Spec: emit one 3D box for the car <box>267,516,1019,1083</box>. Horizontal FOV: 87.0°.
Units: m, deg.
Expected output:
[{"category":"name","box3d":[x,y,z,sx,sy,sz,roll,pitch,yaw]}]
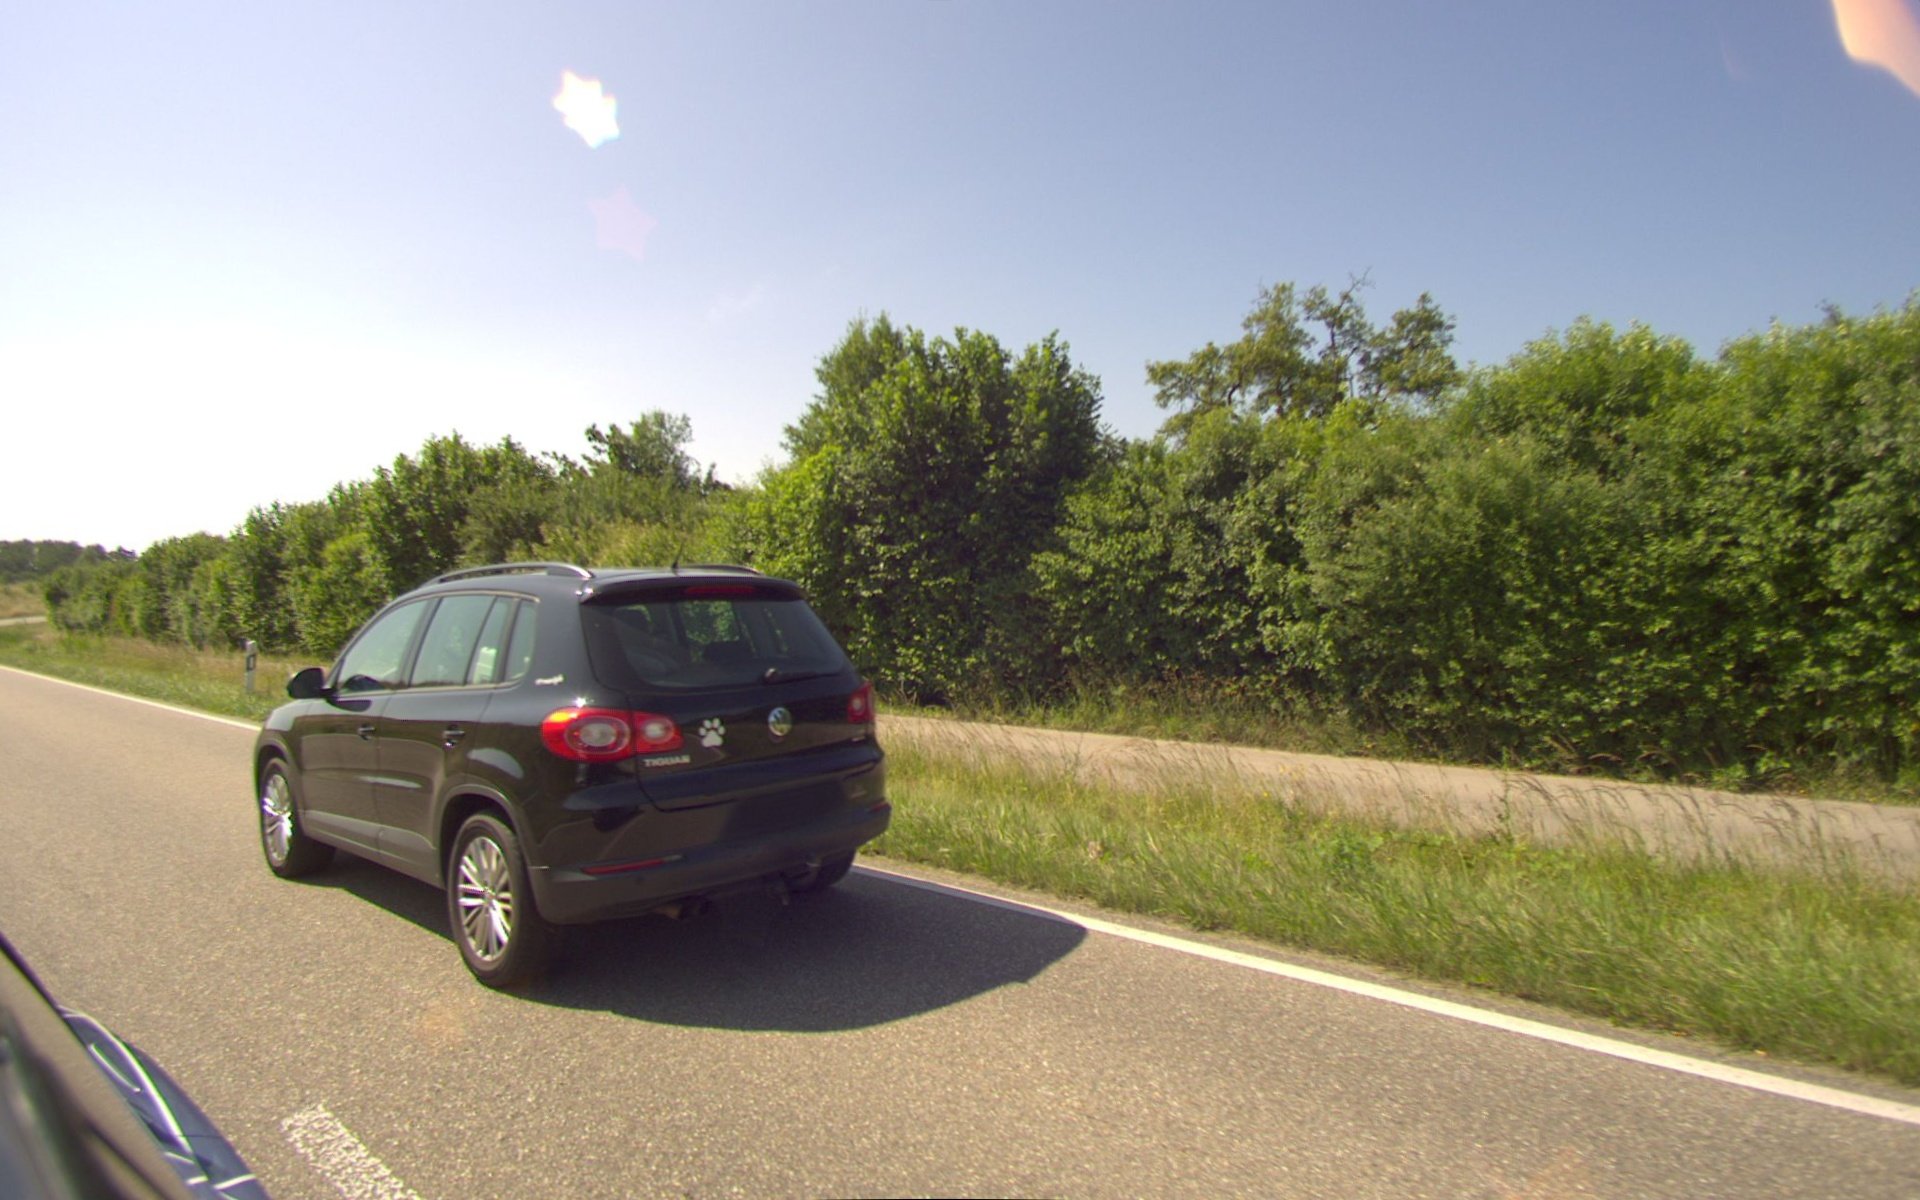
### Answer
[{"category":"car","box3d":[-1.784,0.605,4.908,3.913,1.659,1.698,-1,0,42]}]
